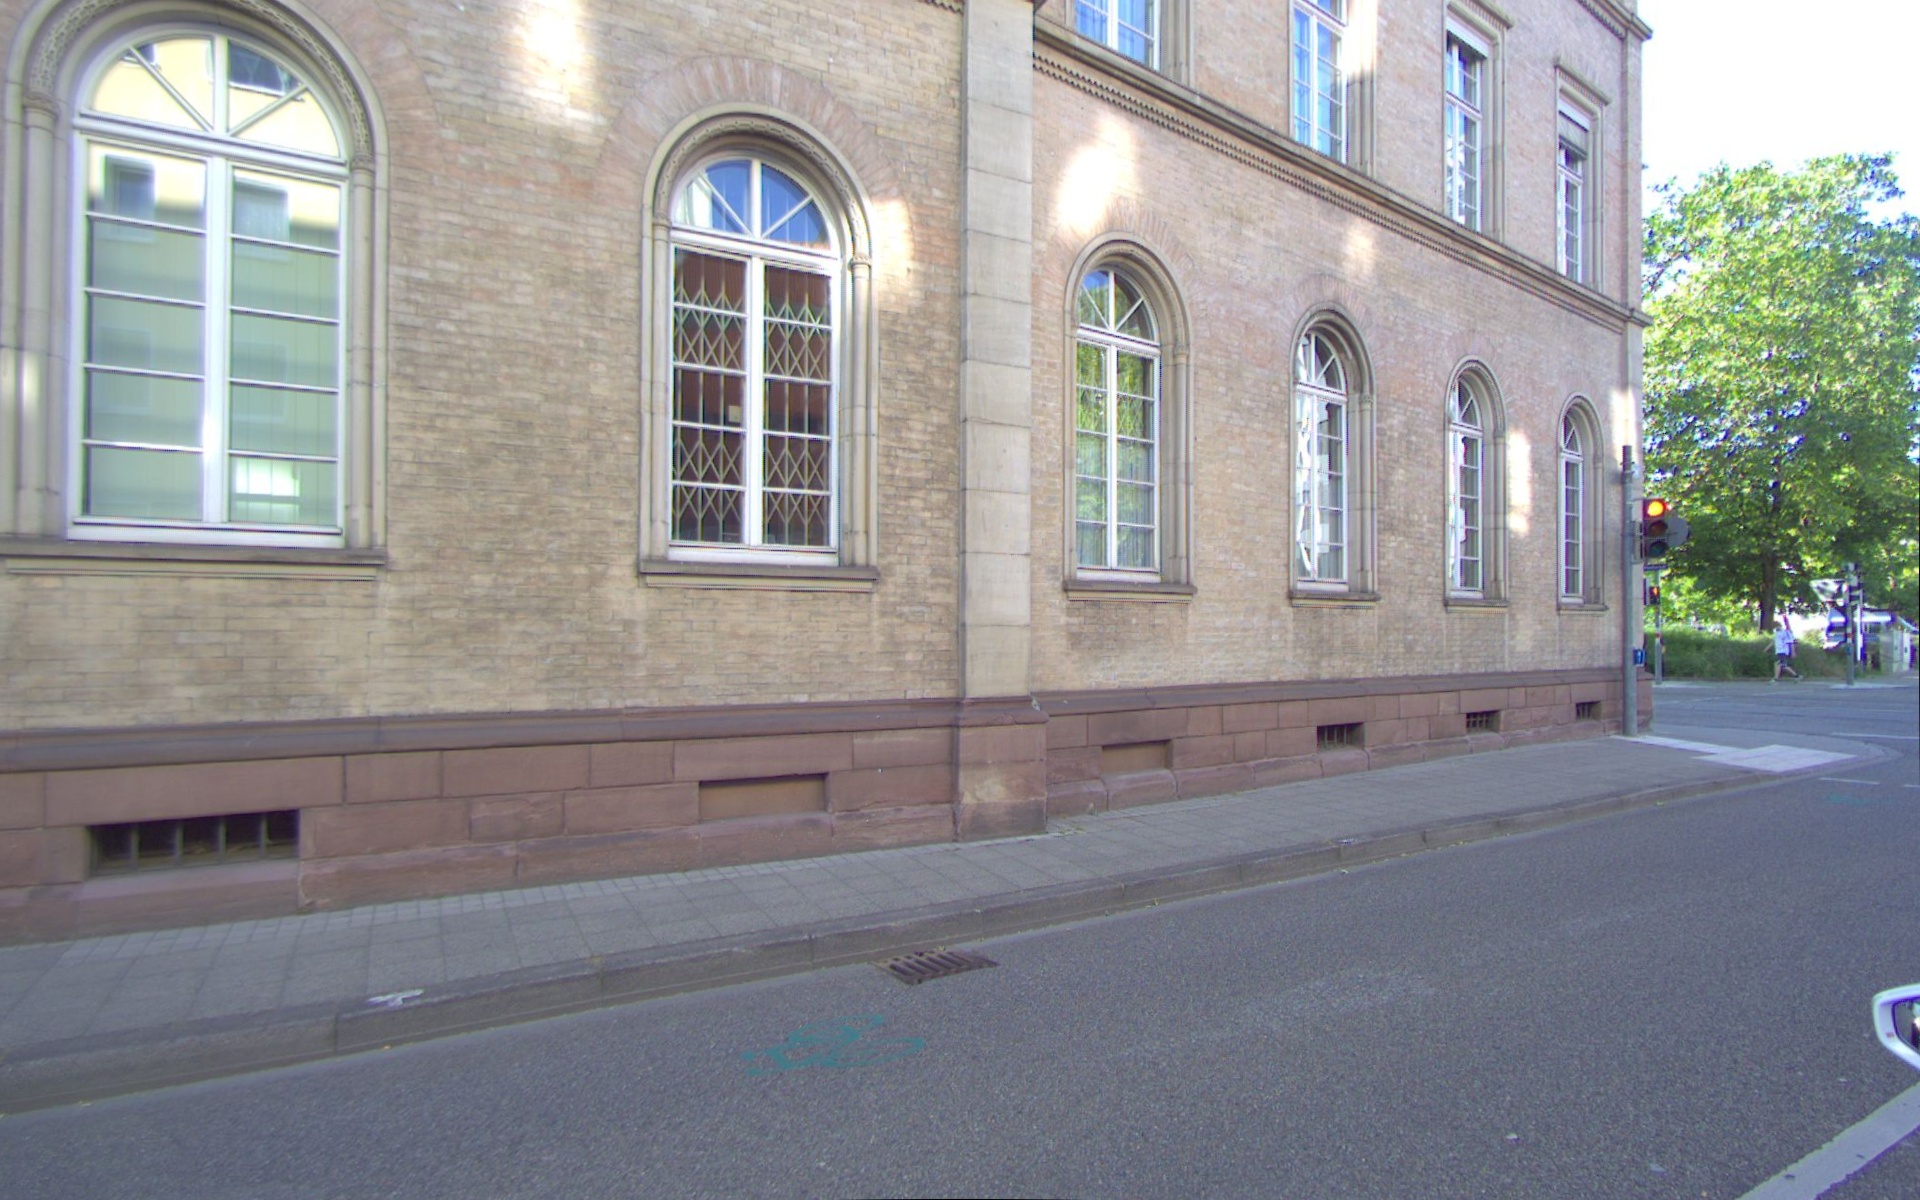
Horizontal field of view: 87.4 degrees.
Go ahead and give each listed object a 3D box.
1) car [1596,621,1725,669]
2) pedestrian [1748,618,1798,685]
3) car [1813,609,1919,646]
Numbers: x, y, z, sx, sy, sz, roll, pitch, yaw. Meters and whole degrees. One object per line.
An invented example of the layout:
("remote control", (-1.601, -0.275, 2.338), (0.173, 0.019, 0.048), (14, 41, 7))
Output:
("car", (24.382, 1.524, 35.029), (1.636, 1.476, 3.382), (2, 0, -39))
("pedestrian", (24.020, 1.508, 29.690), (0.898, 1.893, 0.743), (2, 0, 15))
("car", (53.505, 1.612, 59.389), (1.983, 2.040, 4.409), (2, 0, -38))
